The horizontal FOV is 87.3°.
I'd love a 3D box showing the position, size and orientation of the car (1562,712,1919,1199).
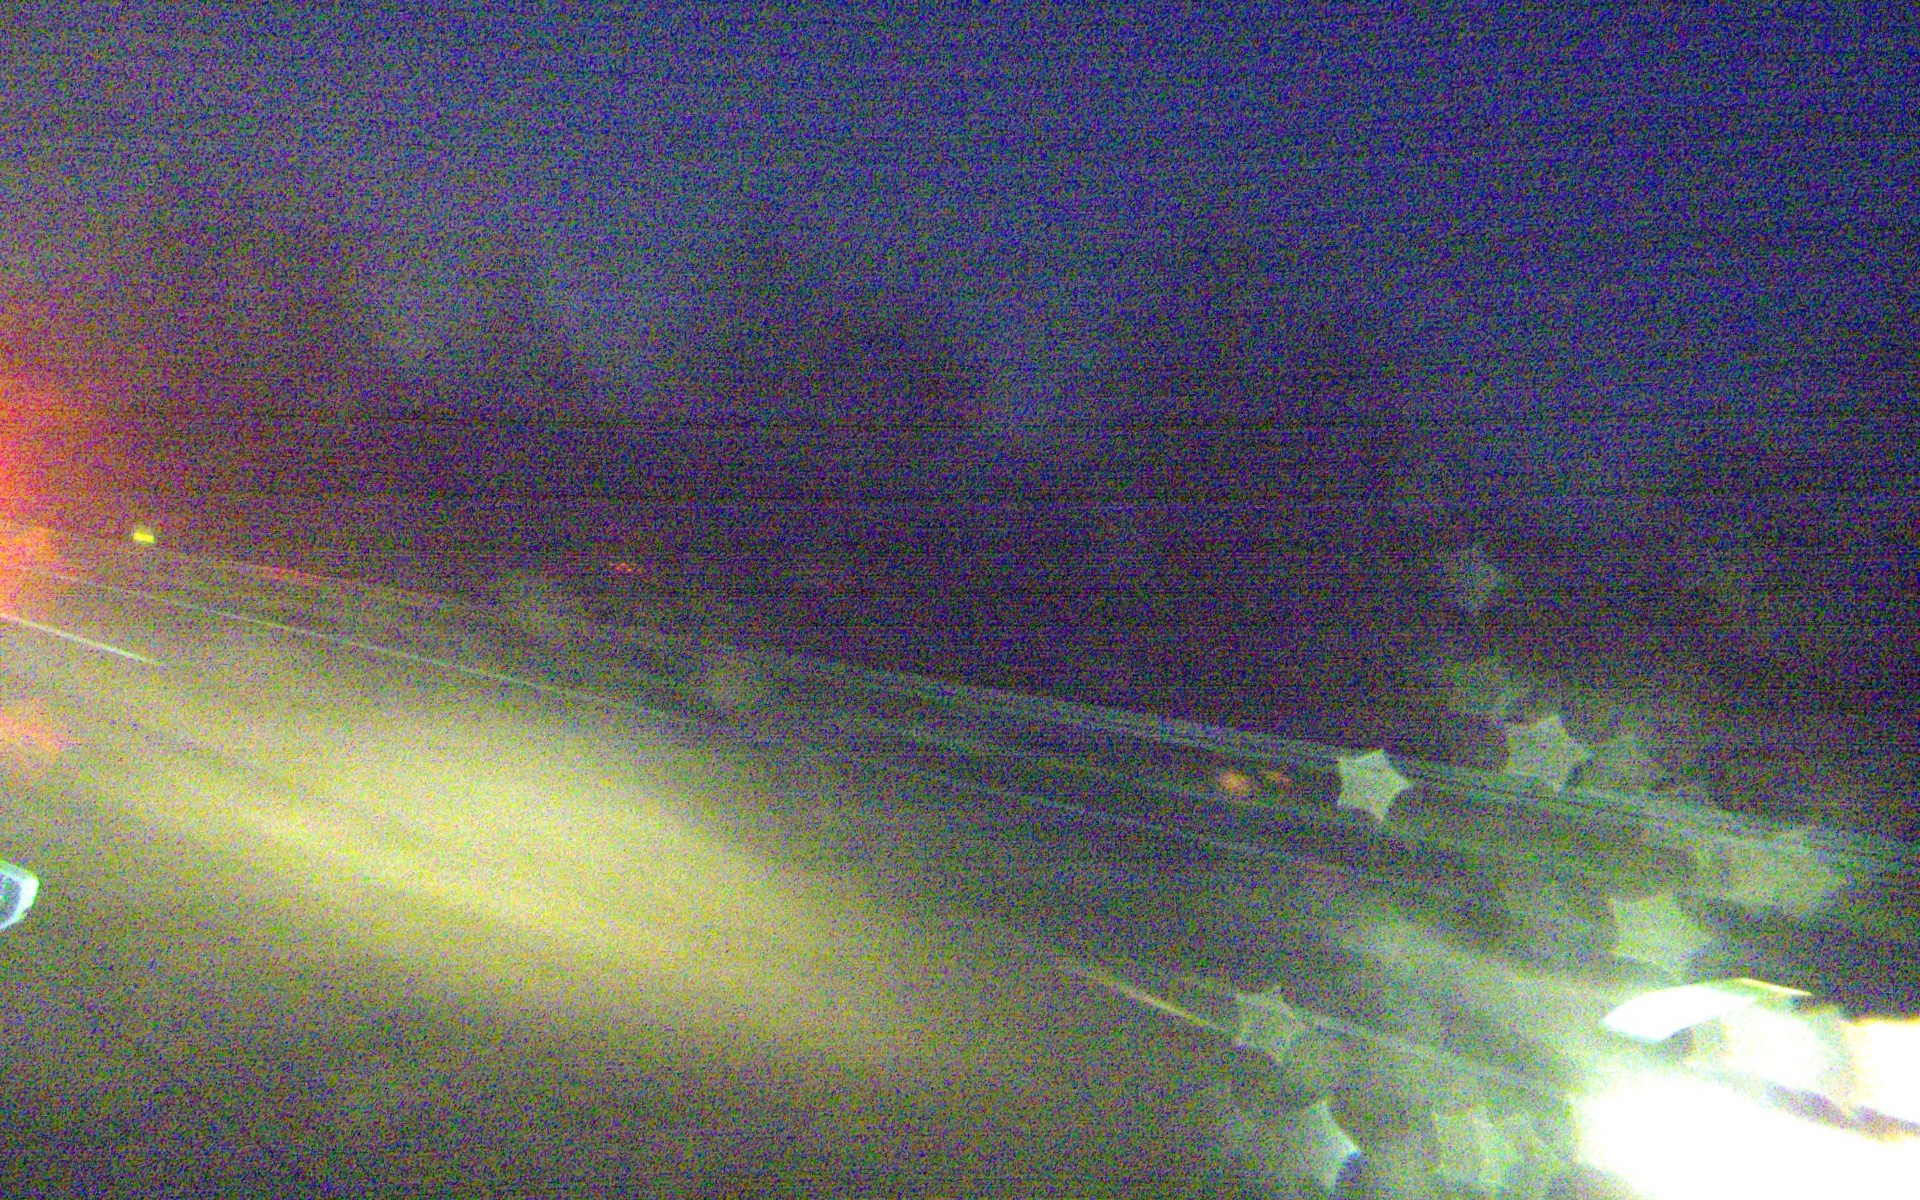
[{"bbox_3d":[3.365,1.222,1.454,4.125,1.474,1.773,7,-1,31],"label":"car"}]
